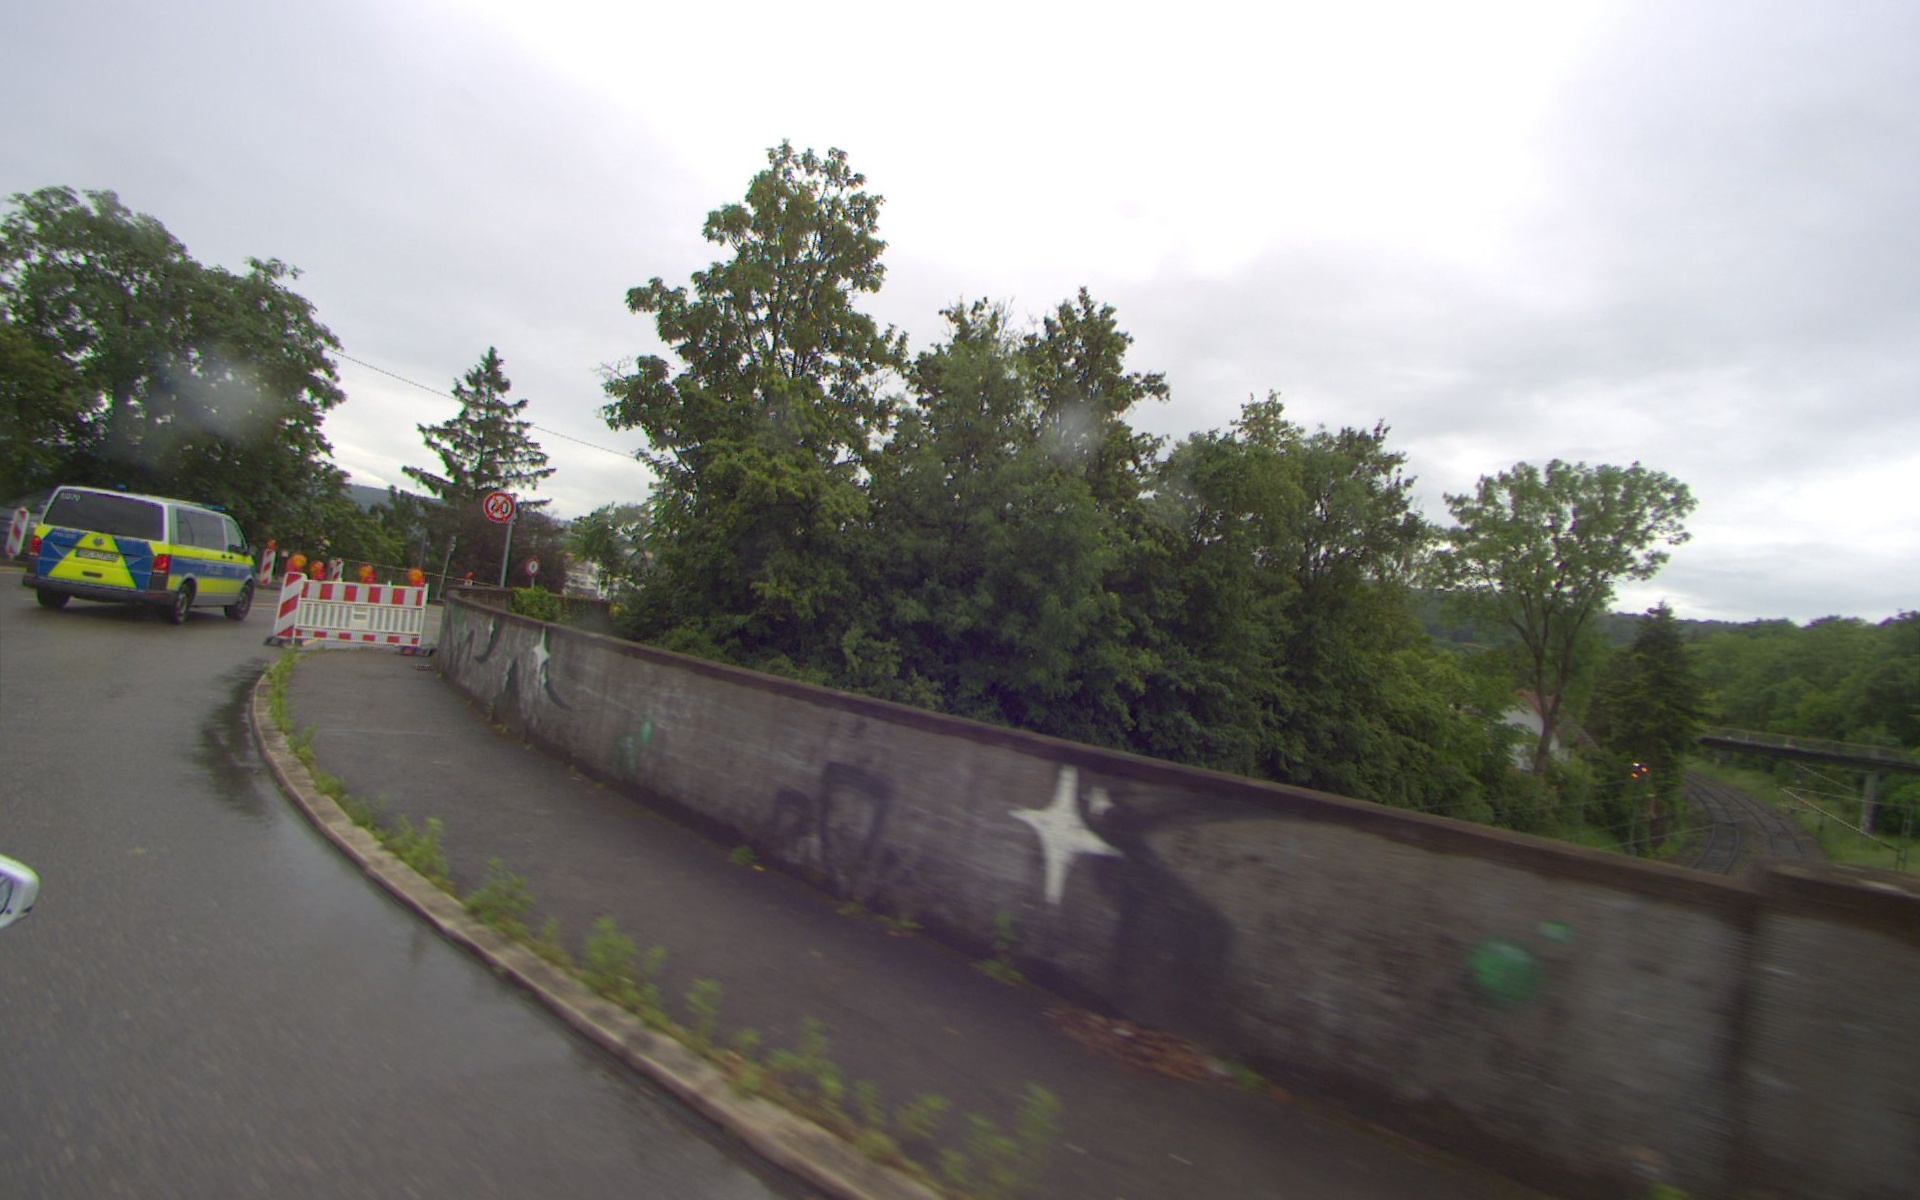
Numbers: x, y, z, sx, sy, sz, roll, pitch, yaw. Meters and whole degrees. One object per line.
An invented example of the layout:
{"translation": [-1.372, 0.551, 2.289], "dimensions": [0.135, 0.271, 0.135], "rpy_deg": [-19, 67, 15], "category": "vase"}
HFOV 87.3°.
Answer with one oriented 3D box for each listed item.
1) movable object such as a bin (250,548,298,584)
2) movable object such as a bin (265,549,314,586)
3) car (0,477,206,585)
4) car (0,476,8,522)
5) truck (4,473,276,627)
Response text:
{"translation": [-25.733, -1.278, 37.750], "dimensions": [0.972, 1.119, 1.027], "rpy_deg": [7, -2, 26], "category": "movable object such as a bin"}
{"translation": [-24.831, -1.209, 37.242], "dimensions": [0.972, 1.118, 1.028], "rpy_deg": [7, -3, 26], "category": "movable object such as a bin"}
{"translation": [-23.091, -1.805, 26.494], "dimensions": [1.962, 2.035, 4.959], "rpy_deg": [10, -3, 9], "category": "car"}
{"translation": [-23.297, -2.103, 21.296], "dimensions": [1.840, 2.036, 4.810], "rpy_deg": [10, -2, -7], "category": "car"}
{"translation": [-13.792, -0.729, 17.346], "dimensions": [1.972, 2.037, 4.716], "rpy_deg": [7, -2, -20], "category": "truck"}
